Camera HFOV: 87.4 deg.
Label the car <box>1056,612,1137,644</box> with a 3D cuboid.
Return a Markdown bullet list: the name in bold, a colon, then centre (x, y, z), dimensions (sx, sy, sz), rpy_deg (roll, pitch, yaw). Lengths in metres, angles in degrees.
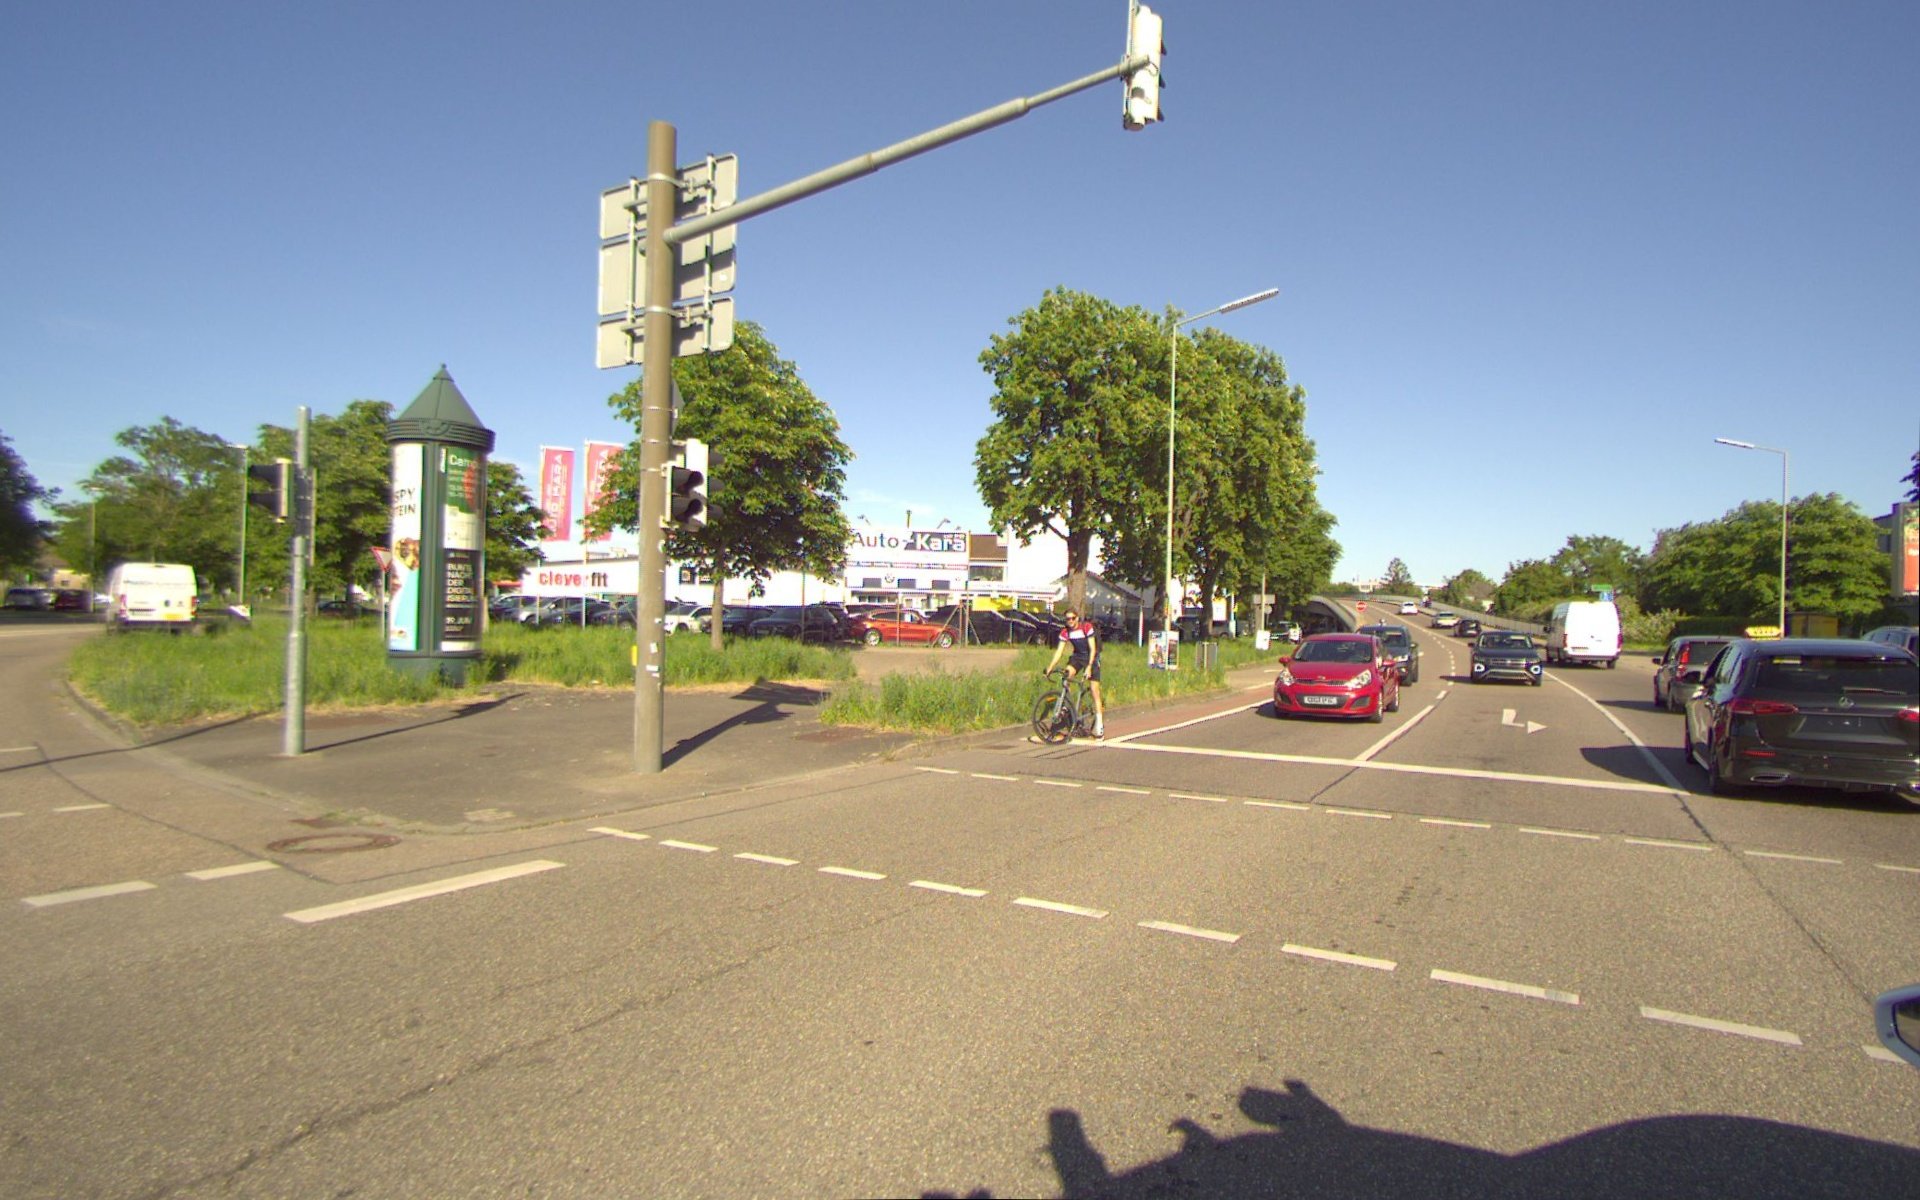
- **car**: centre (7.533, 1.527, 55.852), dimensions (4.320, 1.596, 1.815), rpy_deg (1, 0, 4)

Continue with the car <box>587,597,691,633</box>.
- **car**: centre (-13.841, 0.665, 43.513), dimensions (1.964, 1.460, 3.993), rpy_deg (1, -1, 30)

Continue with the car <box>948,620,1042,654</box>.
- **car**: centre (1.534, 1.542, 42.640), dimensions (3.853, 1.257, 2.045), rpy_deg (1, 0, 5)

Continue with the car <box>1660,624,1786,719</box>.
- **car**: centre (15.329, 1.372, 20.099), dimensions (1.784, 1.661, 3.981), rpy_deg (1, -1, 40)

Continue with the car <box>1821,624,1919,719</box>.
- **car**: centre (19.087, 1.357, 20.102), dimensions (1.845, 1.745, 4.605), rpy_deg (-1, -2, 28)

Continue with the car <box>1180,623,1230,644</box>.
- **car**: centre (20.114, 2.745, 82.437), dimensions (3.601, 1.530, 1.783), rpy_deg (1, 0, -7)

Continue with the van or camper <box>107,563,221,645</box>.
- **van or camper**: centre (-28.064, 0.217, 35.310), dimensions (2.588, 2.617, 6.527), rpy_deg (2, -2, -43)

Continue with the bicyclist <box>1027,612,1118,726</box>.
- **bicyclist**: centre (1.497, 0.884, 13.342), dimensions (0.919, 1.420, 0.821), rpy_deg (1, 0, 30)

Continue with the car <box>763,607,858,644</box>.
- **car**: centre (-6.741, 1.139, 45.251), dimensions (3.929, 1.526, 1.830), rpy_deg (1, -1, 30)

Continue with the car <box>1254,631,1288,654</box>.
- **car**: centre (22.112, 2.991, 71.198), dimensions (2.004, 1.483, 4.961), rpy_deg (1, -1, 20)

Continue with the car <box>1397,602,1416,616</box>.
- **car**: centre (52.692, 1.067, 118.549), dimensions (1.846, 1.564, 3.999), rpy_deg (1, 0, 21)

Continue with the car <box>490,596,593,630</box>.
- **car**: centre (-19.036, 0.600, 45.789), dimensions (3.974, 1.427, 1.814), rpy_deg (2, 0, -45)

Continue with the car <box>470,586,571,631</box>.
- **car**: centre (-21.053, 0.443, 48.207), dimensions (1.972, 2.040, 3.978), rpy_deg (0, -1, 43)

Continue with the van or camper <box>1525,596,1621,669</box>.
- **van or camper**: centre (25.859, 1.303, 42.669), dimensions (2.190, 2.775, 7.078), rpy_deg (1, 0, 21)

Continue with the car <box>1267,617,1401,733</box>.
- **car**: centre (6.852, 1.221, 18.146), dimensions (1.824, 1.759, 4.265), rpy_deg (1, 0, 26)

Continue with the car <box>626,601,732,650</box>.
- **car**: centre (-11.707, 1.072, 42.069), dimensions (1.964, 1.911, 3.993), rpy_deg (1, -1, 30)

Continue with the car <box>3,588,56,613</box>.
- **car**: centre (-60.519, 0.011, 65.366), dimensions (1.982, 1.469, 3.958), rpy_deg (4, -1, -36)

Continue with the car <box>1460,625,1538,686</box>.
- **car**: centre (15.822, 1.589, 29.655), dimensions (1.883, 1.620, 3.996), rpy_deg (0, -1, 26)

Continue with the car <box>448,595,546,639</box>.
- **car**: centre (-22.967, 0.834, 49.912), dimensions (1.971, 2.040, 3.979), rpy_deg (1, 0, 42)

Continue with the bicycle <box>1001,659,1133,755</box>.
- **bicycle**: centre (1.470, 1.365, 13.317), dimensions (0.923, 1.030, 2.193), rpy_deg (1, 0, 30)

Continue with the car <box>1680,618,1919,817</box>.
- **car**: centre (8.613, 1.041, 10.272), dimensions (1.745, 1.614, 3.980), rpy_deg (1, -1, 32)

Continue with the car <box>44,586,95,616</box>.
- **car**: centre (-56.857, 0.037, 64.223), dimensions (1.982, 1.688, 3.958), rpy_deg (4, -1, -36)

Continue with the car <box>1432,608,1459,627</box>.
- **car**: centre (45.150, 1.665, 93.326), dimensions (1.964, 1.702, 3.993), rpy_deg (0, -2, 30)

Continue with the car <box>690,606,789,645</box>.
- **car**: centre (-9.019, 1.045, 41.292), dimensions (1.714, 1.481, 3.993), rpy_deg (1, -1, 30)

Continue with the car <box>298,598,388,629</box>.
- **car**: centre (-32.643, 0.720, 53.158), dimensions (3.959, 1.550, 1.910), rpy_deg (2, -1, -34)

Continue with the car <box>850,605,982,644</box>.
- **car**: centre (-1.772, 0.947, 39.367), dimensions (4.967, 1.327, 2.358), rpy_deg (1, 0, -8)

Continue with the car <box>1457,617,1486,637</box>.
- **car**: centre (40.615, 2.158, 79.671), dimensions (1.890, 1.508, 4.263), rpy_deg (0, -2, 29)

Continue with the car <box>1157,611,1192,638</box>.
- **car**: centre (15.960, 1.806, 74.664), dimensions (1.718, 1.956, 5.102), rpy_deg (1, -1, 21)

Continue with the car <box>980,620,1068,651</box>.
- **car**: centre (2.910, 1.582, 45.150), dimensions (3.853, 1.257, 2.045), rpy_deg (1, 0, 5)
